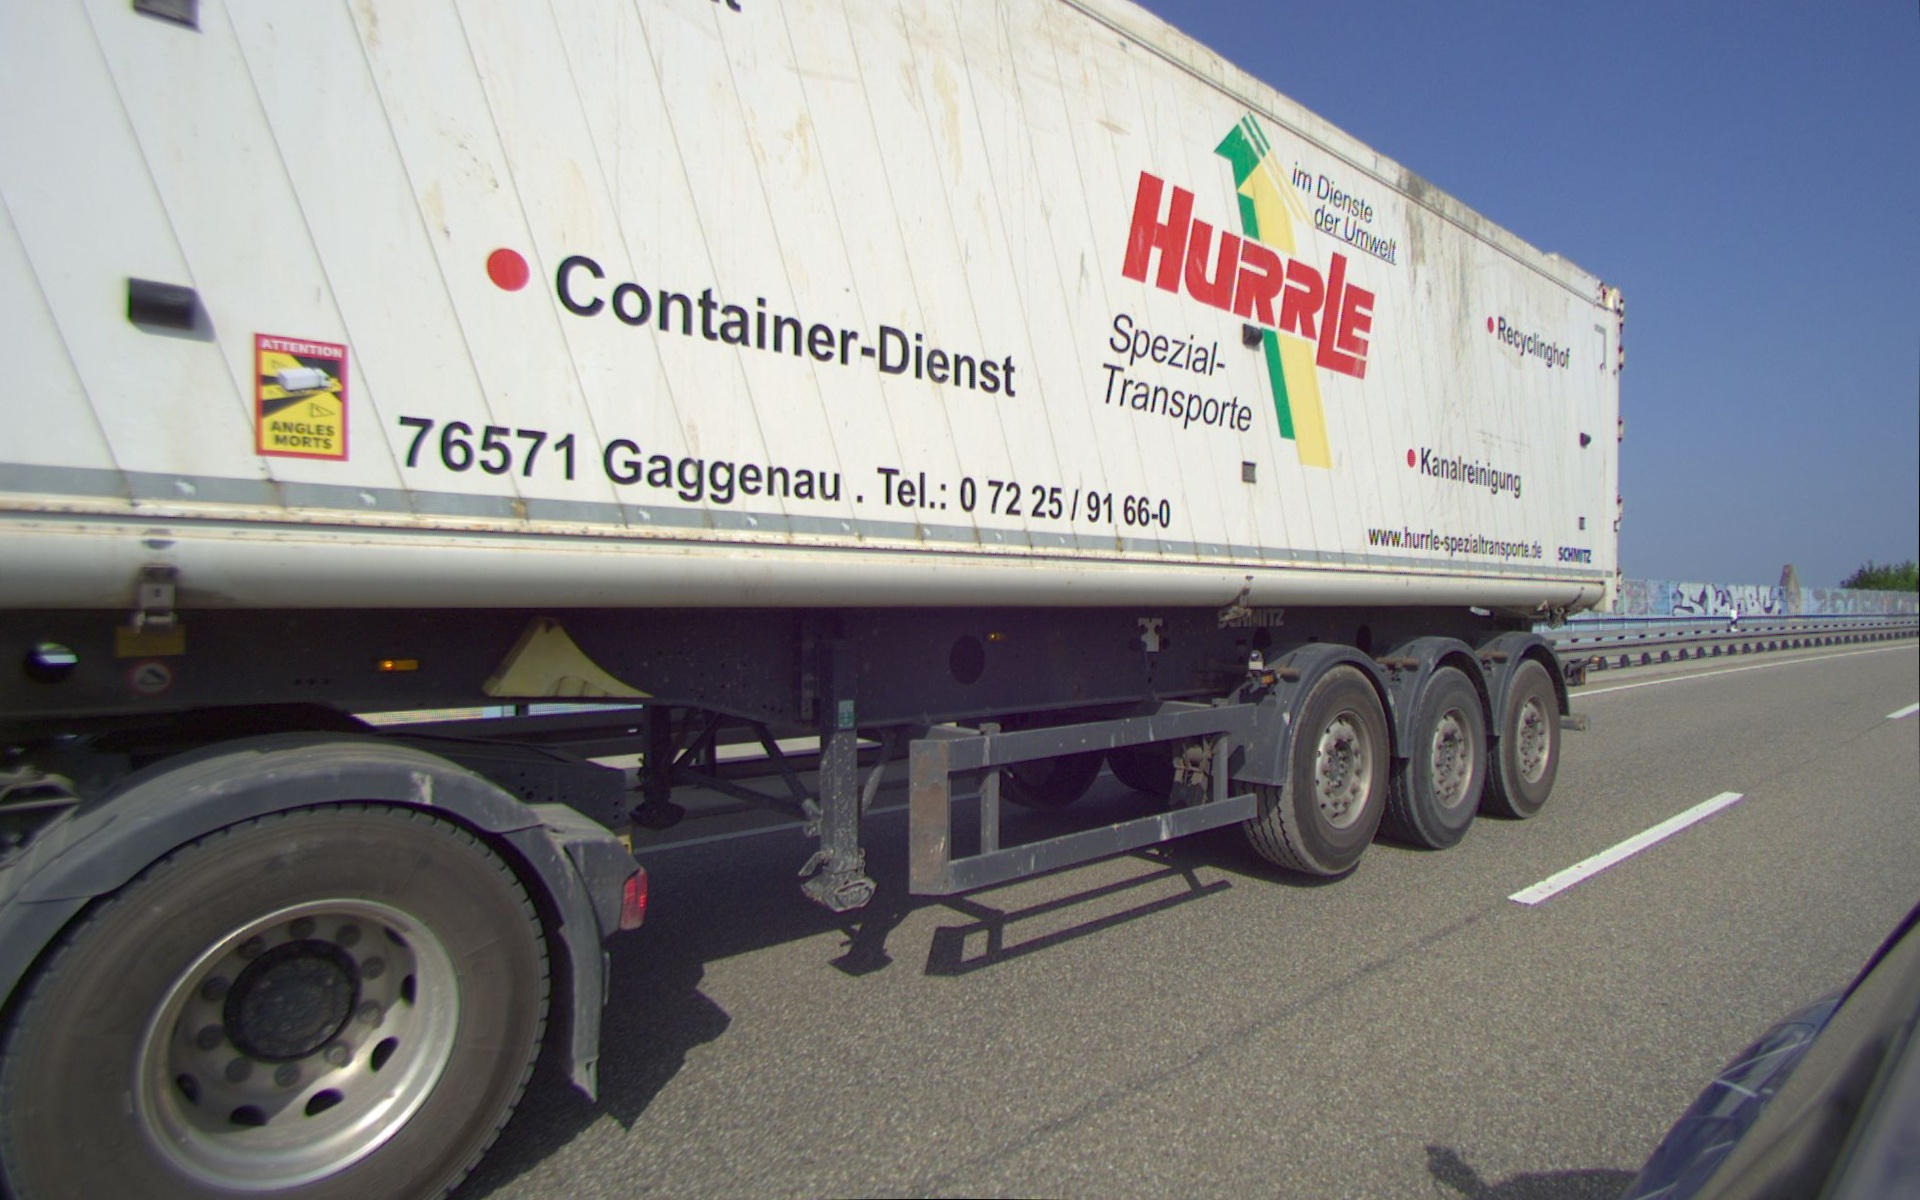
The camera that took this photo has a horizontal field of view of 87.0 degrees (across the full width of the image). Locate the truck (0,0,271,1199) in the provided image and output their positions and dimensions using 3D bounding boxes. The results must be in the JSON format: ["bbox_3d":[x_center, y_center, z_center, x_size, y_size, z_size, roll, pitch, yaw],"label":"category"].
[{"bbox_3d":[-4.333,-0.601,1.224,5.549,3.945,2.663,0,0,-41],"label":"truck"}]

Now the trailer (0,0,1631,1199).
[{"bbox_3d":[0.653,-0.628,5.567,9.503,3.956,2.684,0,0,-41],"label":"trailer"}]
